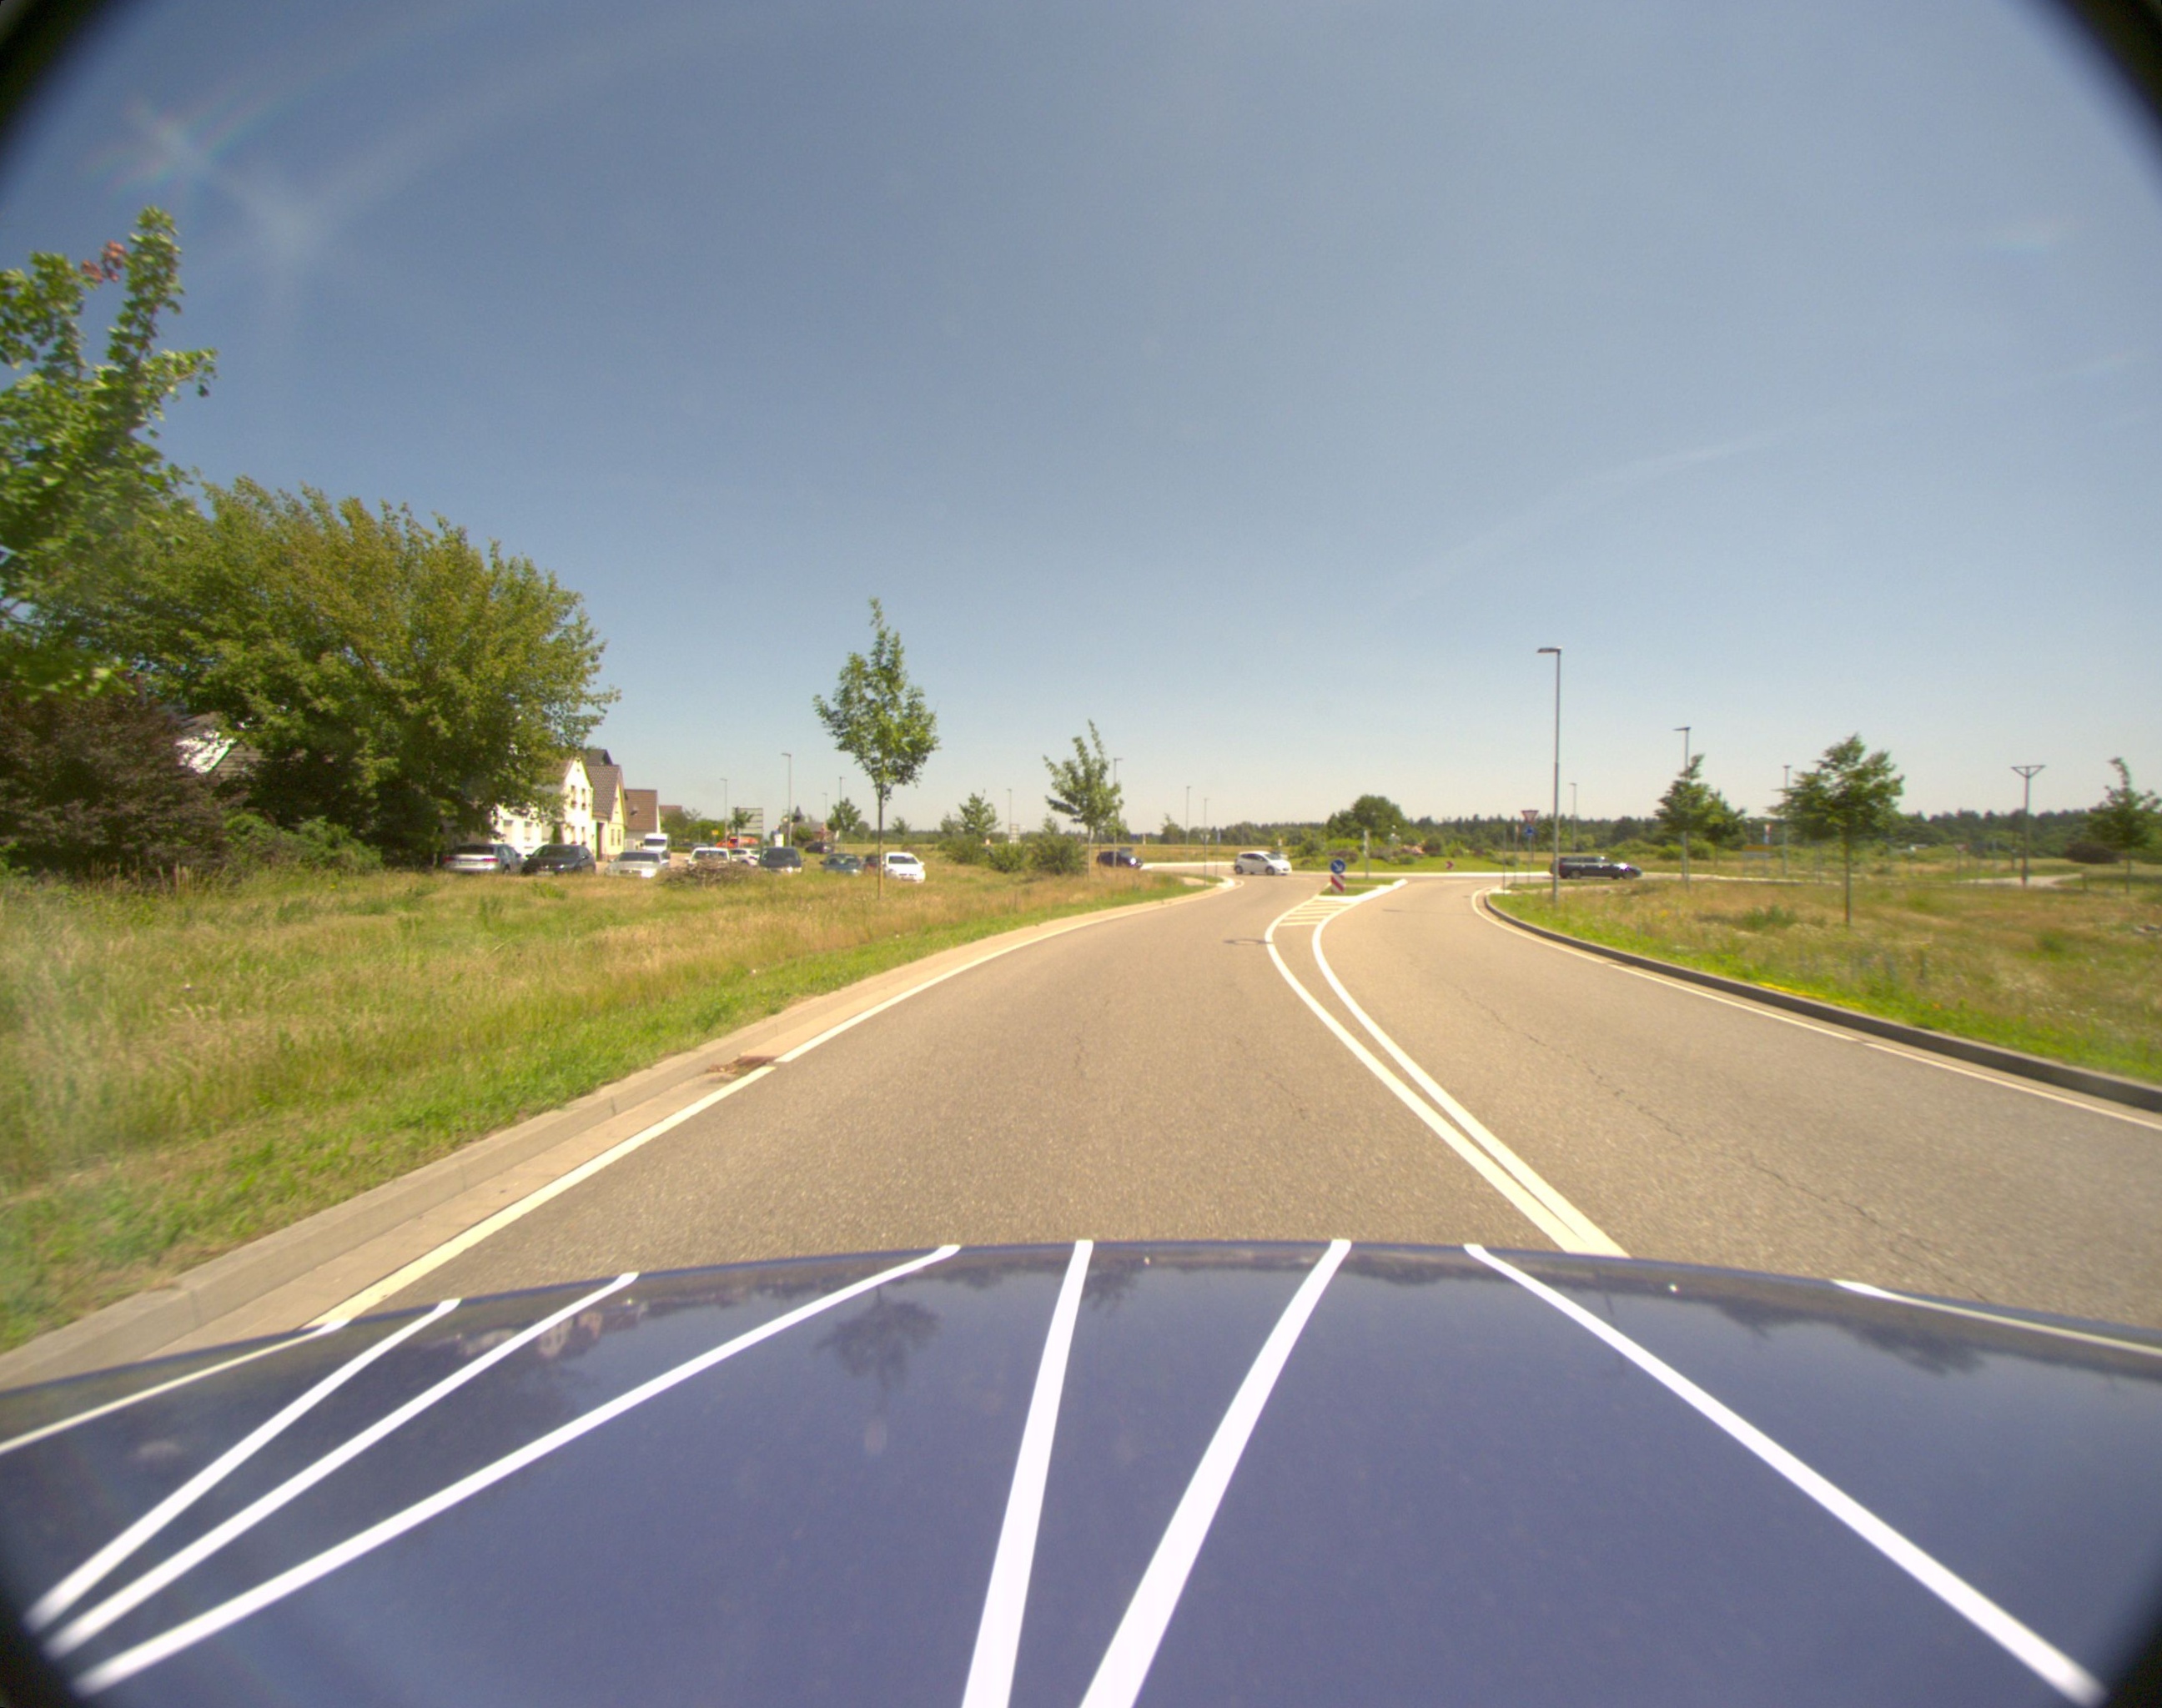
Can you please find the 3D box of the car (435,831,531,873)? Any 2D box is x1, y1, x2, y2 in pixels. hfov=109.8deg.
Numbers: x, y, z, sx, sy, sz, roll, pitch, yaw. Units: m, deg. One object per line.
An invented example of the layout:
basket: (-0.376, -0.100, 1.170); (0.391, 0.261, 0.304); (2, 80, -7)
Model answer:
car: (-22.046, -0.052, 28.202); (1.776, 1.434, 3.959); (0, 0, -22)

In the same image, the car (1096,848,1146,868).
car: (3.373, 0.320, 64.131); (1.725, 1.553, 4.138); (-2, 3, -44)

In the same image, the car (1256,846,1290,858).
car: (25.708, -0.289, 101.866); (2.004, 1.477, 3.988); (0, 1, -42)

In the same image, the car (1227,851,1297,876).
car: (12.609, 0.607, 53.116); (1.873, 1.553, 4.507); (-2, 3, -41)

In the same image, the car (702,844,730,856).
car: (-41.997, -0.440, 87.400); (1.854, 1.343, 3.764); (0, 1, -8)

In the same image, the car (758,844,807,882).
car: (-12.391, 0.368, 31.516); (1.776, 1.434, 3.959); (0, 0, -22)

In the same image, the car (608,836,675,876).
car: (-16.829, 0.079, 29.264); (1.776, 1.434, 3.959); (0, 0, -23)

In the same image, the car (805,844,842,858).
car: (-32.148, -0.405, 94.654); (4.875, 1.640, 1.957); (0, 1, 38)

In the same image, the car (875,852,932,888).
car: (-7.991, 0.666, 33.958); (1.749, 1.419, 3.991); (0, 1, -24)

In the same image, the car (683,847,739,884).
car: (-15.127, 0.459, 31.199); (1.776, 1.434, 3.959); (0, 0, -22)

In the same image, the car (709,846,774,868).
car: (-23.100, 0.175, 51.774); (3.991, 1.385, 1.653); (1, 1, 19)

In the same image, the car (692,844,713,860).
car: (-38.388, -0.208, 77.204); (1.857, 1.487, 3.991); (0, 1, -26)

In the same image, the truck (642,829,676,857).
truck: (-39.262, -1.039, 70.841); (2.240, 2.492, 5.623); (0, 1, -23)

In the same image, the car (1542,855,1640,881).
car: (30.671, 0.826, 45.869); (4.512, 1.427, 1.870); (0, 3, 13)

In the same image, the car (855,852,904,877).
car: (-11.448, 0.567, 43.009); (1.750, 1.304, 3.990); (0, 1, -29)

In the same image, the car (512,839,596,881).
car: (-19.608, 0.229, 28.434); (1.776, 1.434, 3.959); (0, 0, -22)

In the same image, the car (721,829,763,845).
car: (-57.740, -2.837, 129.453); (6.137, 2.569, 2.354); (0, 1, -10)

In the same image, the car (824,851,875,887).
car: (-9.951, 0.601, 32.516); (1.776, 1.434, 3.959); (0, 0, -22)

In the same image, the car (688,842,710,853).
car: (-58.355, -0.986, 116.071); (1.903, 1.607, 3.988); (0, 1, -44)
